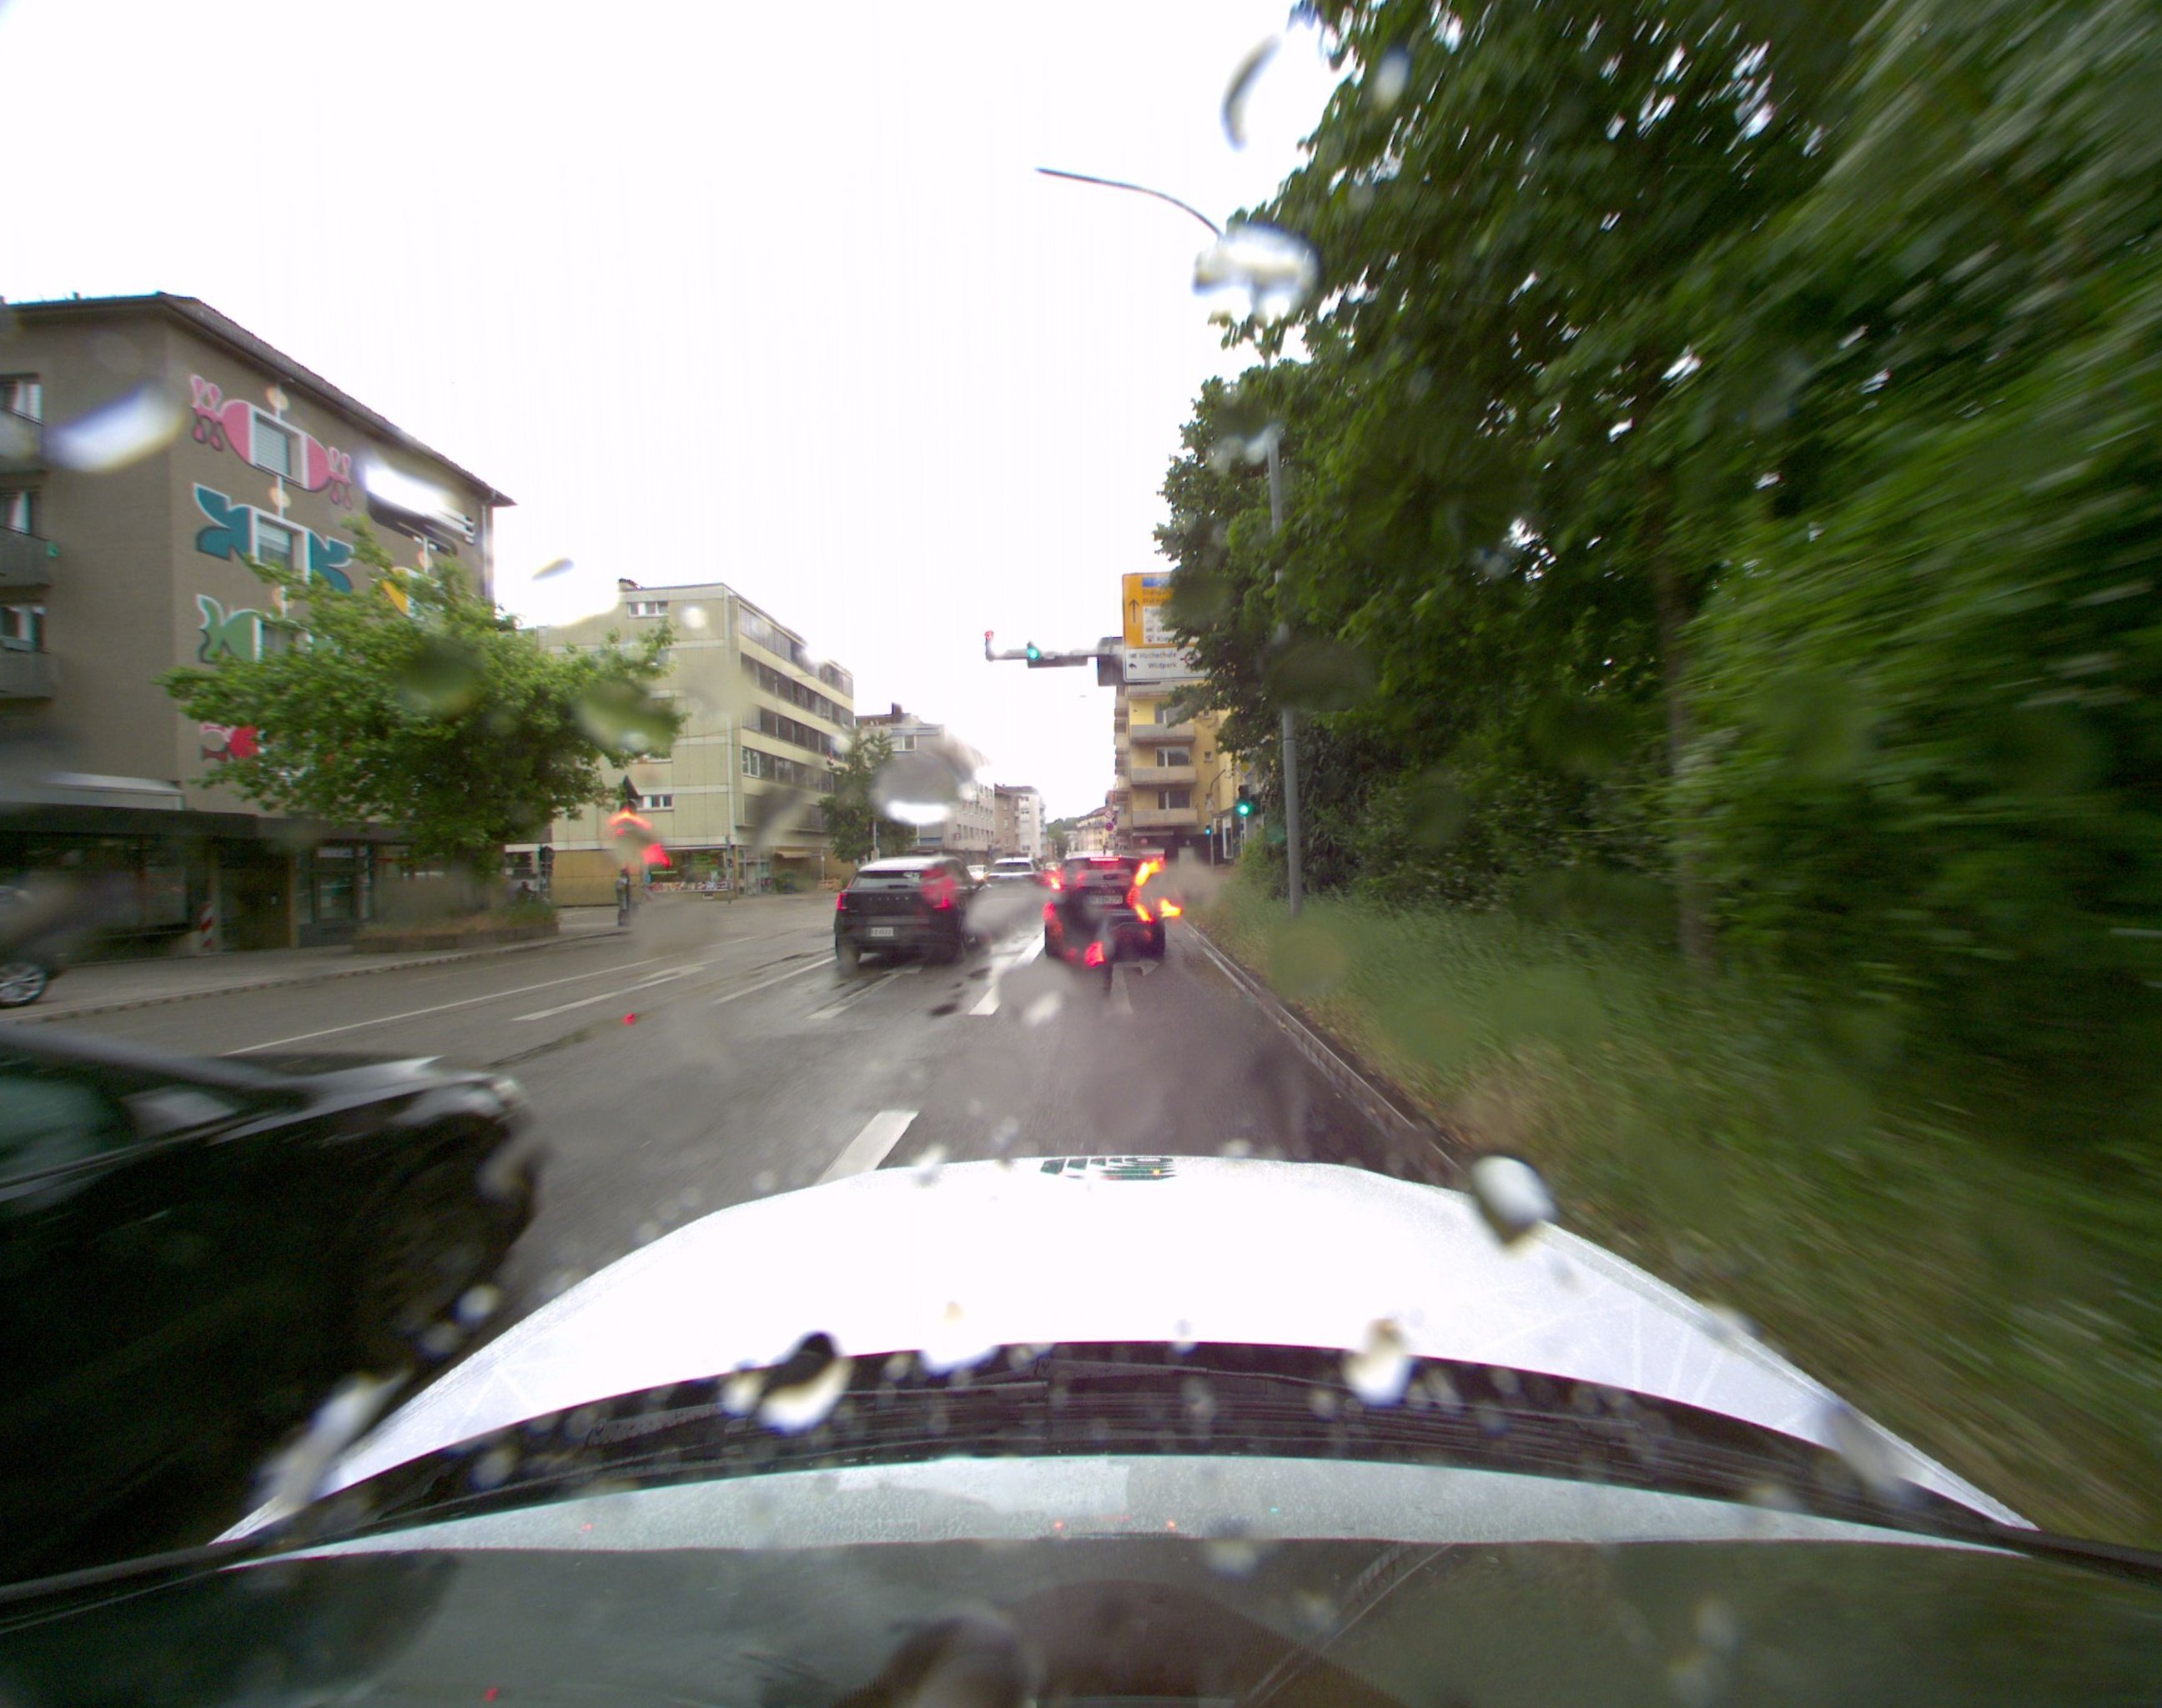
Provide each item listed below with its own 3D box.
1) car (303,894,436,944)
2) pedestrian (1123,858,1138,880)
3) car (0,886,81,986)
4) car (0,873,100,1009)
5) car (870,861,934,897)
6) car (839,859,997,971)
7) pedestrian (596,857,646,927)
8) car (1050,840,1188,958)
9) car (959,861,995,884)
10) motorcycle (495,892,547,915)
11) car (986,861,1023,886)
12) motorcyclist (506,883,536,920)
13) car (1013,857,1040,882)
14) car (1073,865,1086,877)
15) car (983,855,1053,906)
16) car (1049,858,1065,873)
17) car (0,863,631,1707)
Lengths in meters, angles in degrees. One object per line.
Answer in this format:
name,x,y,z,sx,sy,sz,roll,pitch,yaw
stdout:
car,-34.464,3.113,39.577,4.426,1.919,2.031,-4,-1,-4
pedestrian,3.761,1.101,61.976,0.832,1.558,0.833,-8,-1,0
car,-19.382,1.430,12.685,1.987,1.655,4.511,-2,0,1
car,-14.621,1.134,9.303,1.533,1.706,4.289,-1,0,2
car,-9.135,1.250,41.953,1.985,1.494,4.092,-5,0,4
car,-2.367,0.824,12.813,1.607,1.420,3.967,-1,0,1
pedestrian,-13.814,1.124,24.471,0.939,2.013,0.884,-3,-1,-8
car,0.557,0.634,13.497,1.953,1.653,4.000,0,0,0
car,-7.548,1.324,59.590,1.771,1.478,3.798,-5,0,4
motorcycle,-26.090,2.294,37.985,1.855,0.935,0.615,-3,-1,-15
car,-5.037,1.255,54.258,1.779,1.491,3.818,-4,0,4
motorcyclist,-26.119,2.216,37.996,0.920,1.663,0.704,-3,-2,-15
car,-4.207,1.191,63.457,1.774,1.816,4.404,-3,0,-1
car,-0.271,3.049,148.325,1.985,2.013,4.003,-4,0,3
car,-1.966,0.790,26.483,1.760,1.444,4.002,-2,0,2
car,-3.557,1.744,121.740,1.903,2.013,4.002,-4,0,2
car,-2.772,0.800,1.299,1.749,1.453,4.001,-2,0,1
